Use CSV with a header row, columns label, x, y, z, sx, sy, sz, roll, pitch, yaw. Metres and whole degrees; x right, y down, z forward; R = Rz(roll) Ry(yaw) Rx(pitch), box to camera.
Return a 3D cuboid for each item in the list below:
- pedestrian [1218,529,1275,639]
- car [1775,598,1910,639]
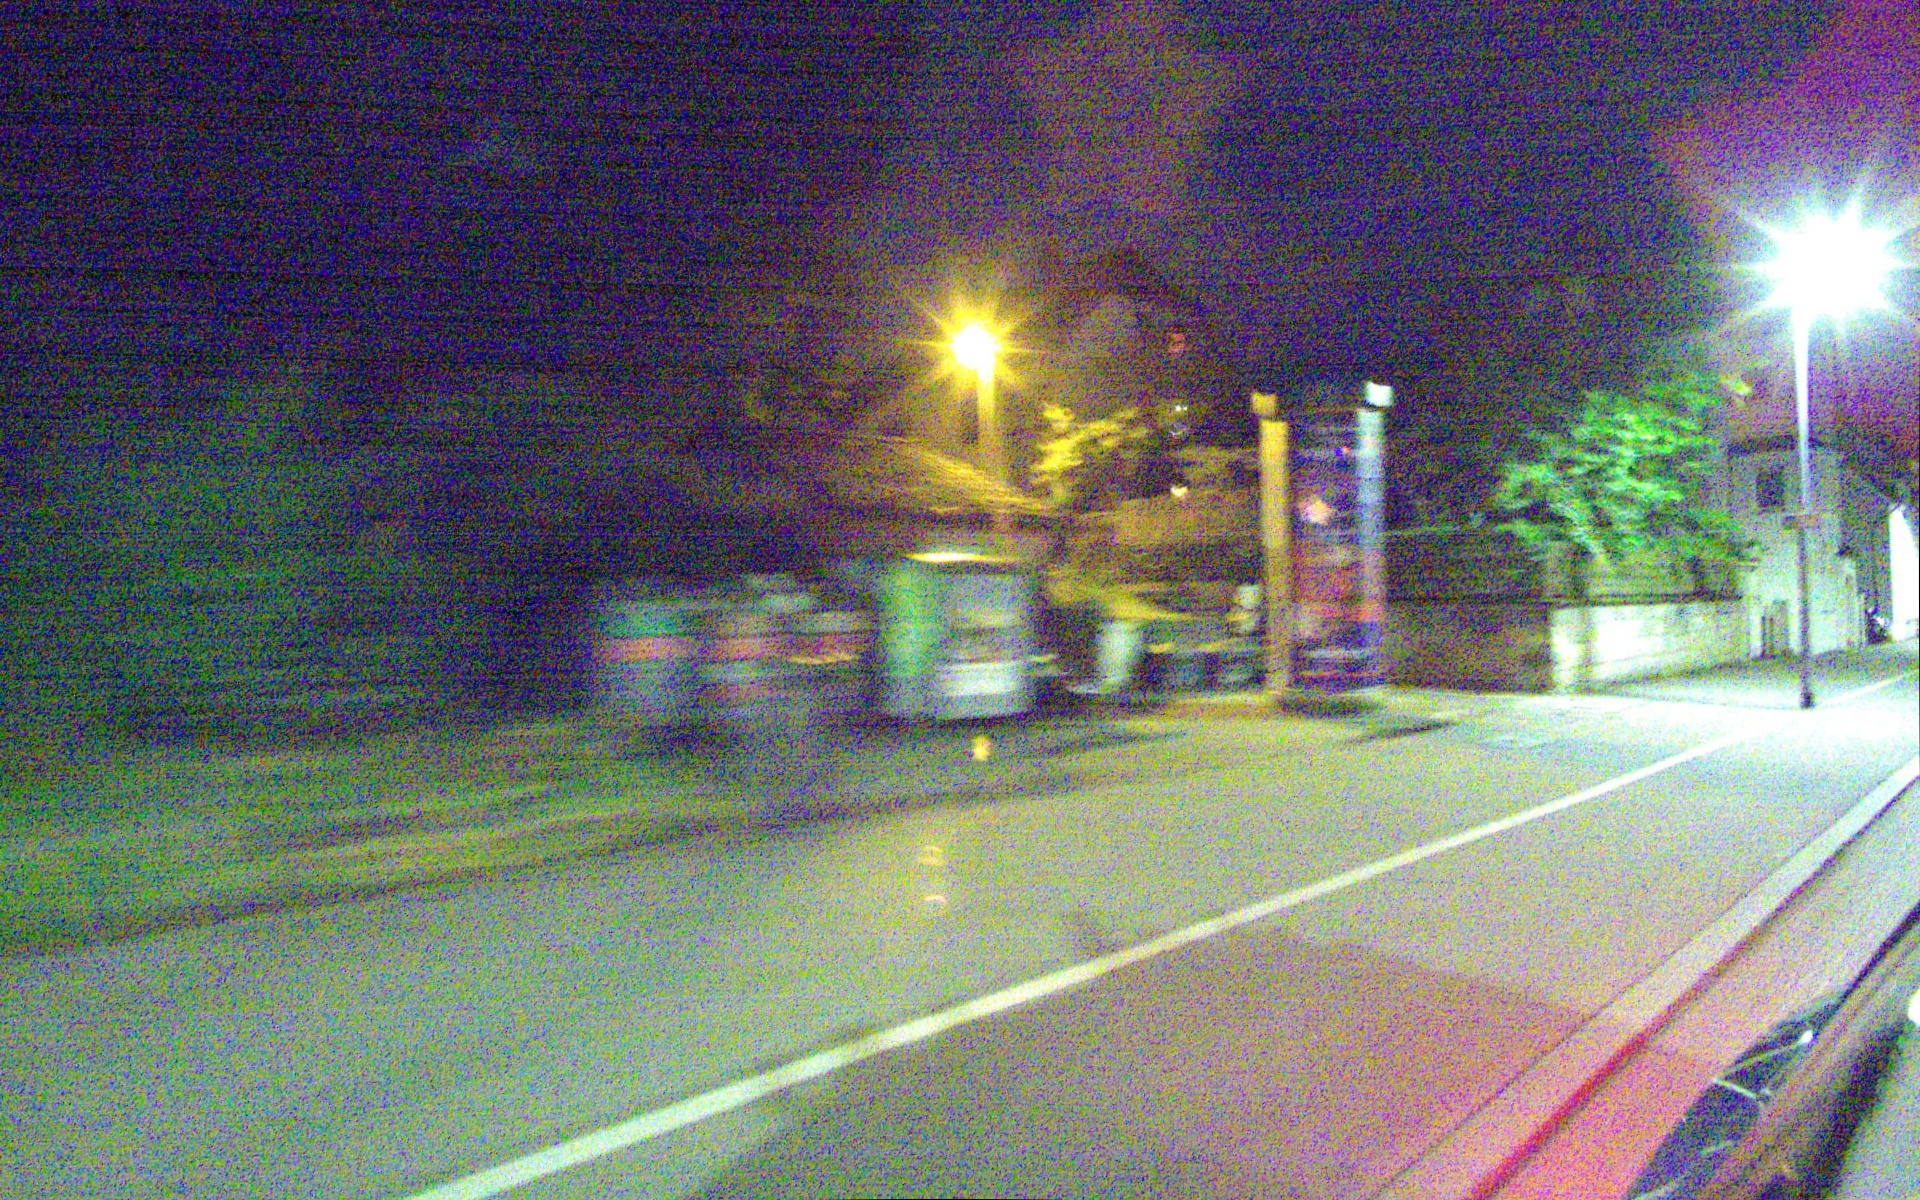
label,x,y,z,sx,sy,sz,roll,pitch,yaw
pedestrian,5.239,-0.292,18.497,0.759,1.961,0.647,1,1,-40
car,34.413,0.707,39.536,1.699,1.492,3.720,0,-1,-37
